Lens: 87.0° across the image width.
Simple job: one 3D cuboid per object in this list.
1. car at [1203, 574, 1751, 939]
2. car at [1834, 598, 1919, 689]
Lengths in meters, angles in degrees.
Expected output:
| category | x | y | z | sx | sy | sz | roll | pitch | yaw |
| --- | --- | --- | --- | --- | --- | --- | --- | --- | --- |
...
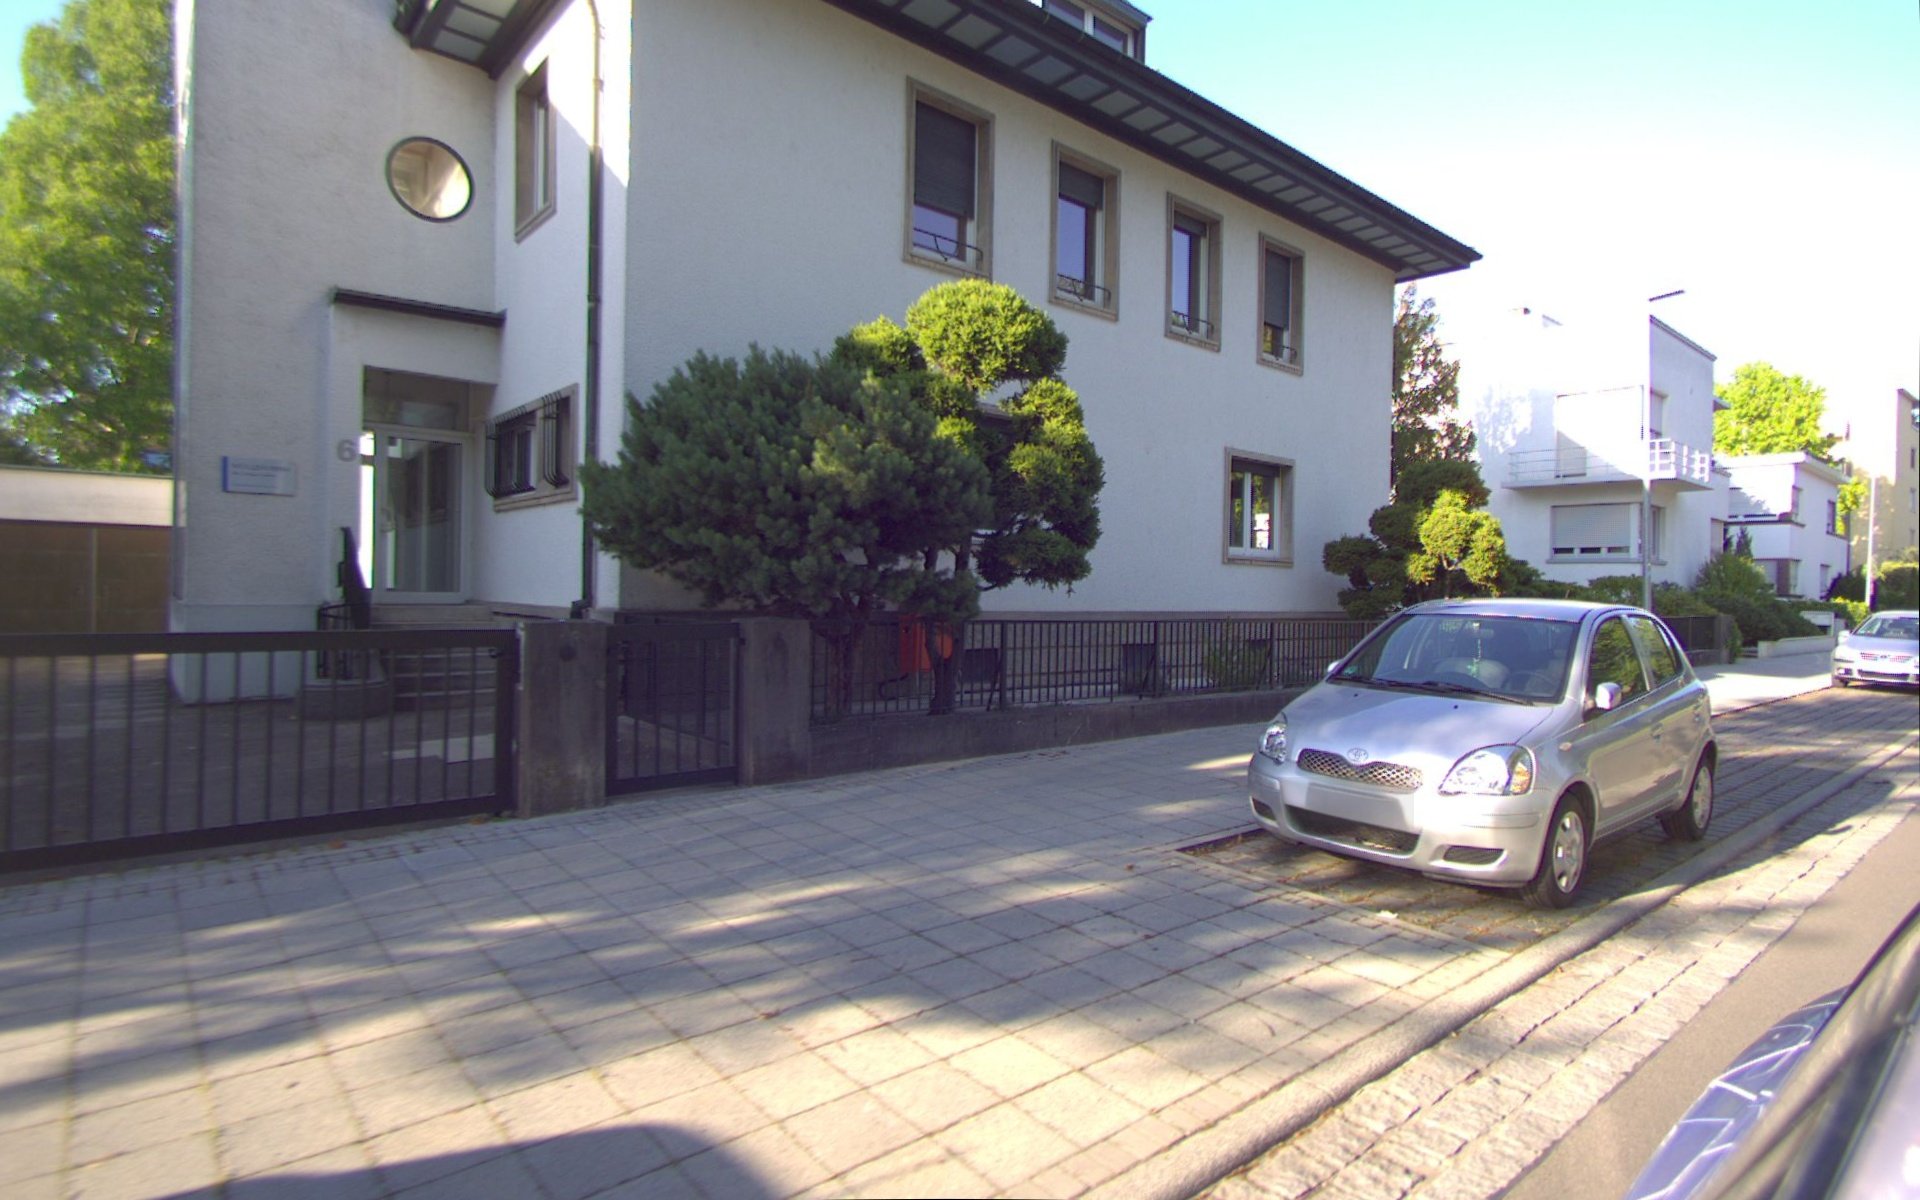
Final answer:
| category | x | y | z | sx | sy | sz | roll | pitch | yaw |
| --- | --- | --- | --- | --- | --- | --- | --- | --- | --- |
| car | 3.261 | 0.681 | 6.120 | 3.568 | 1.523 | 1.632 | 1 | 2 | -40 |
| car | 17.968 | 0.785 | 18.790 | 3.848 | 1.492 | 1.751 | 1 | 3 | -36 |
